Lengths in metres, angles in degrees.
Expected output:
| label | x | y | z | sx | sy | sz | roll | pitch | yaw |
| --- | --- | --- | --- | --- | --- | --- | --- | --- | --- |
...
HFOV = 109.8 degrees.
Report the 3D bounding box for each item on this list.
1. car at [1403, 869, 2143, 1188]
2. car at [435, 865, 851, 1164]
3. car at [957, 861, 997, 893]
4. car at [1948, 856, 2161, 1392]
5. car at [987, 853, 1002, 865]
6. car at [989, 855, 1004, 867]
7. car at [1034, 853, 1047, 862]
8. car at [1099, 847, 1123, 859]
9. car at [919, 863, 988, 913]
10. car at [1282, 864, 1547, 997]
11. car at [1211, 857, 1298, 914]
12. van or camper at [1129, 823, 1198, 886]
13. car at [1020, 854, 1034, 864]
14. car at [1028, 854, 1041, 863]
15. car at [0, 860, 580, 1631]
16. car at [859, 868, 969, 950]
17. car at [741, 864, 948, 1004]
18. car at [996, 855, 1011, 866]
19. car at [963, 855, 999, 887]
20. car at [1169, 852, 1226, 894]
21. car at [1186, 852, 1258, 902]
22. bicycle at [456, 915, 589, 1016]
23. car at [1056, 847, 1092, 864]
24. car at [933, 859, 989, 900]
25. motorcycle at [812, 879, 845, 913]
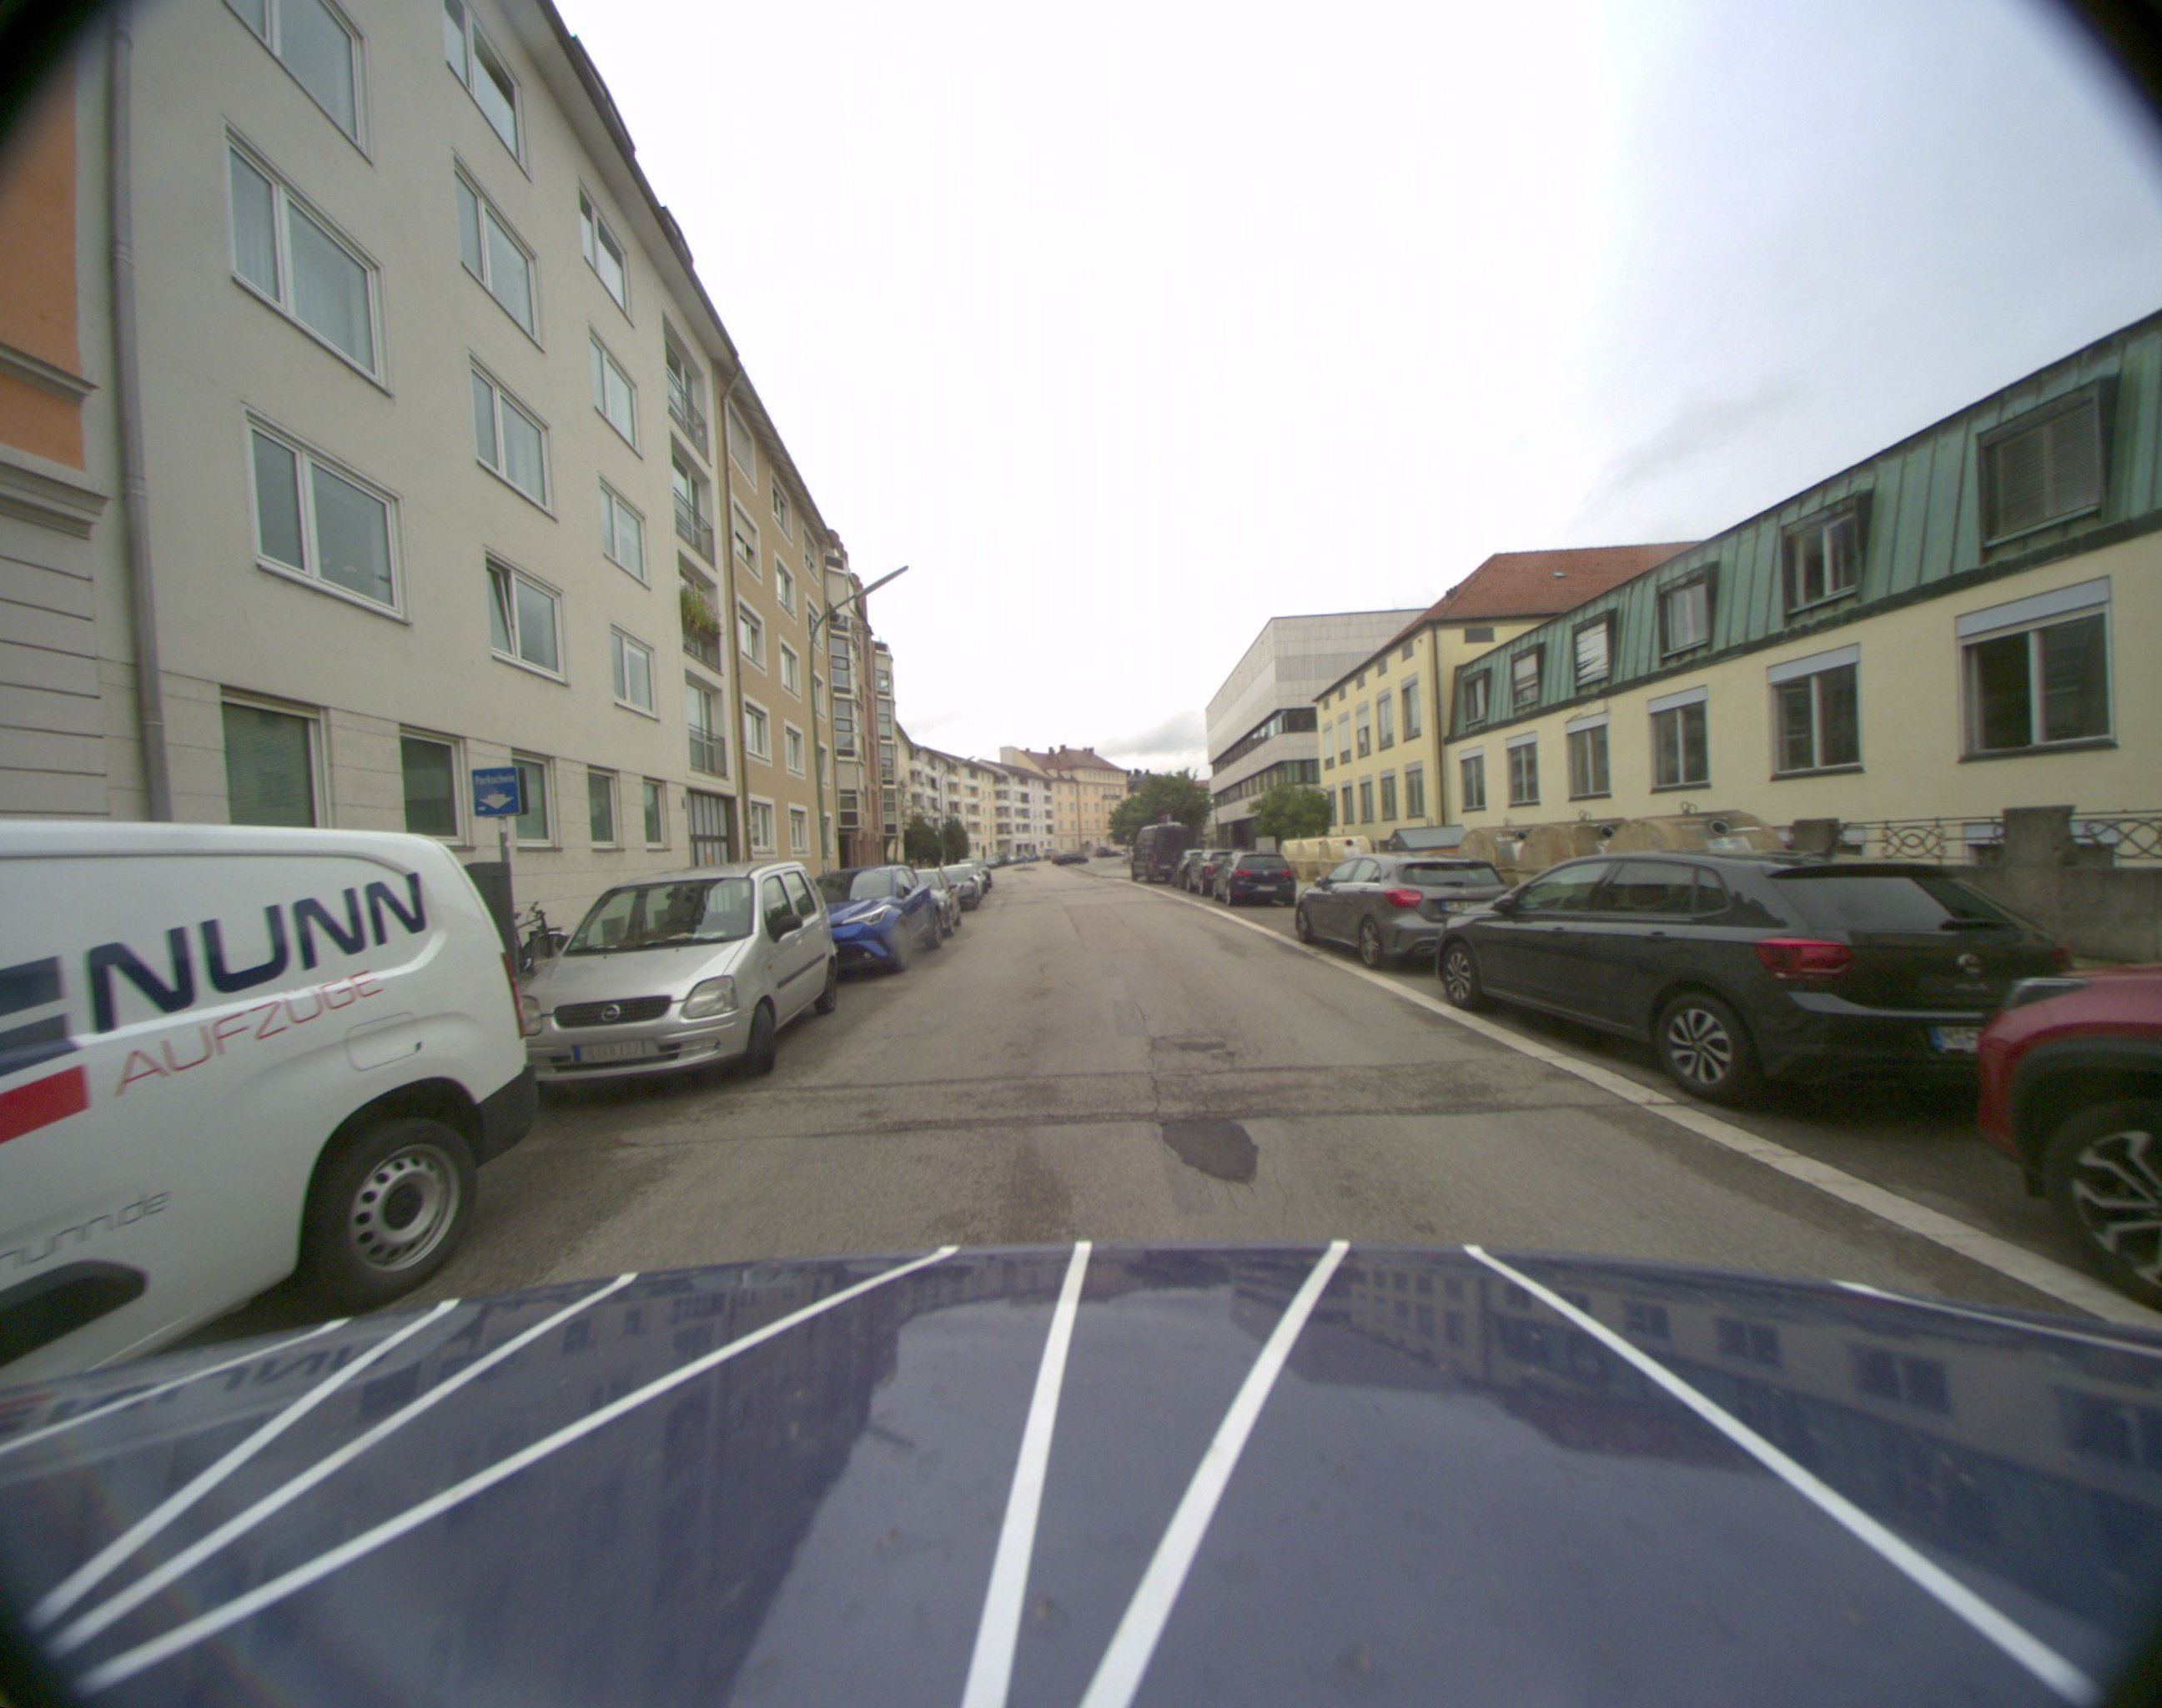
| label | x | y | z | sx | sy | sz | roll | pitch | yaw |
| --- | --- | --- | --- | --- | --- | --- | --- | --- | --- |
| car | 4.147 | 0.863 | 5.597 | 1.679 | 1.397 | 3.989 | 0 | 0 | -3 |
| car | -3.248 | 1.015 | 6.545 | 1.608 | 1.633 | 3.629 | -5 | 1 | -5 |
| car | -4.937 | 1.048 | 36.293 | 1.742 | 1.332 | 4.162 | -1 | 0 | -7 |
| car | 4.013 | 0.800 | 0.756 | 1.679 | 1.557 | 3.996 | 0 | 0 | -1 |
| car | -10.708 | 0.585 | 93.836 | 1.757 | 1.445 | 3.567 | -1 | 0 | -8 |
| car | -10.931 | 0.874 | 98.305 | 1.757 | 1.445 | 3.567 | -3 | 0 | -8 |
| car | -7.184 | 0.695 | 134.999 | 1.756 | 1.445 | 3.570 | -3 | 0 | 3 |
| car | 5.030 | -0.142 | 128.645 | 3.996 | 1.849 | 2.000 | -1 | 1 | 2 |
| car | -4.160 | 1.062 | 25.438 | 1.896 | 1.388 | 4.488 | -2 | 1 | -5 |
| car | 4.242 | 0.872 | 10.488 | 1.798 | 1.397 | 4.127 | 0 | 0 | -1 |
| car | 4.741 | 0.802 | 21.247 | 1.699 | 1.397 | 4.001 | 0 | 0 | 3 |
| van or camper | 3.919 | 0.008 | 37.017 | 2.142 | 2.791 | 5.569 | -2 | 0 | -6 |
| car | -8.769 | 0.770 | 122.819 | 1.756 | 1.445 | 3.570 | -3 | 0 | 3 |
| car | -7.894 | 0.739 | 128.931 | 1.756 | 1.445 | 3.570 | -3 | 0 | 3 |
| car | -3.535 | 1.019 | 1.309 | 1.845 | 1.775 | 4.895 | -5 | 0 | 2 |
| car | -3.535 | 1.094 | 16.789 | 1.746 | 1.388 | 4.199 | -4 | 0 | -5 |
| car | -3.365 | 1.043 | 11.745 | 1.745 | 1.578 | 4.200 | -5 | 0 | 0 |
| car | -10.503 | 0.856 | 103.361 | 1.756 | 1.445 | 3.569 | -3 | 0 | -2 |
| car | -5.424 | 0.874 | 41.381 | 1.742 | 1.569 | 3.831 | -3 | 0 | -7 |
| car | 4.620 | 0.720 | 30.636 | 1.642 | 1.553 | 3.838 | 0 | 0 | -1 |
| car | 4.738 | 0.732 | 26.085 | 1.700 | 1.553 | 3.867 | 0 | 0 | -1 |
| bicycle | -7.712 | 1.501 | 10.598 | 0.669 | 1.115 | 1.651 | -4 | 1 | -5 |
| car | -0.836 | 0.176 | 92.414 | 4.248 | 1.849 | 1.999 | -1 | 1 | -4 |
| car | -4.815 | 0.995 | 30.963 | 1.896 | 1.454 | 4.488 | -1 | 0 | -5 |
| motorcycle | -9.348 | 1.535 | 28.213 | 0.629 | 1.119 | 1.798 | -3 | 0 | -3 |
